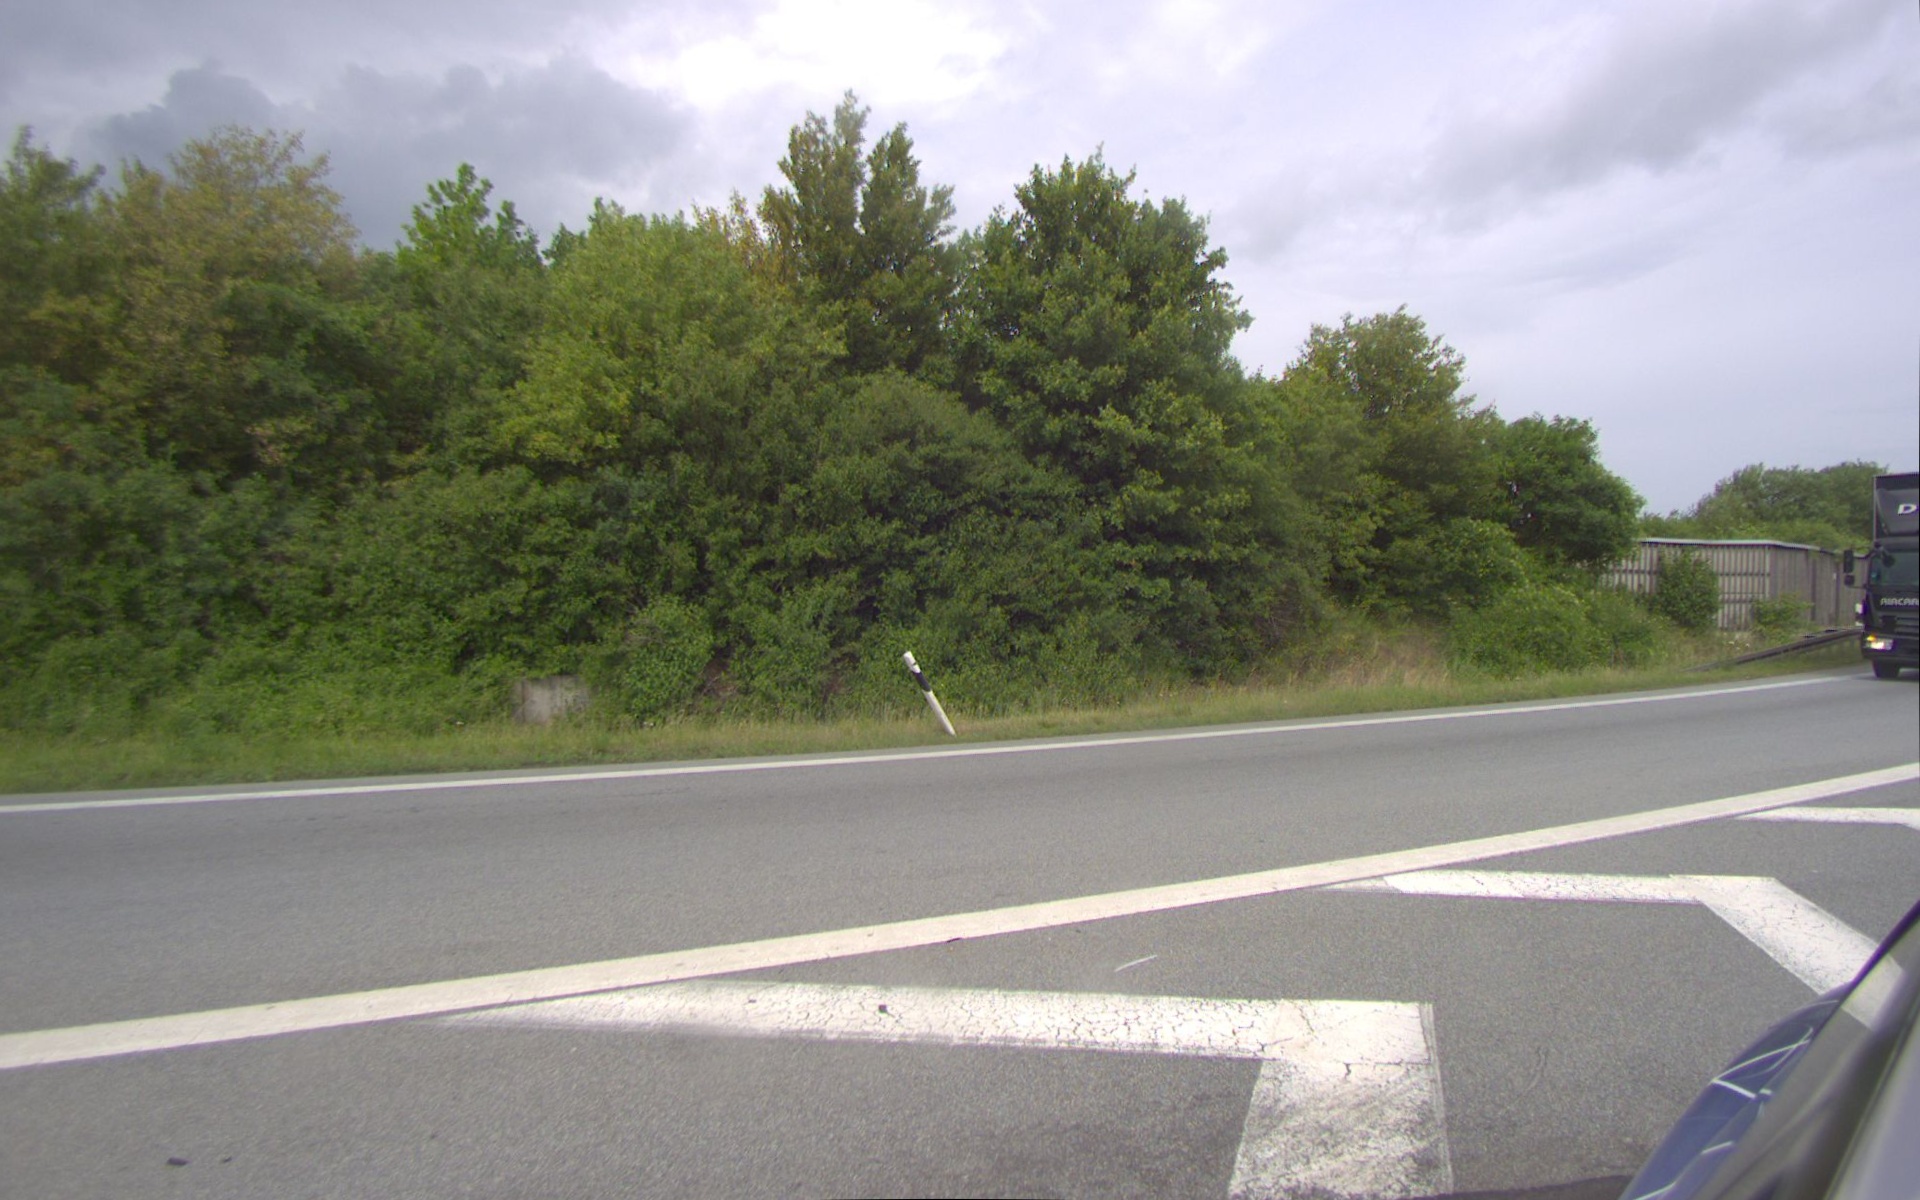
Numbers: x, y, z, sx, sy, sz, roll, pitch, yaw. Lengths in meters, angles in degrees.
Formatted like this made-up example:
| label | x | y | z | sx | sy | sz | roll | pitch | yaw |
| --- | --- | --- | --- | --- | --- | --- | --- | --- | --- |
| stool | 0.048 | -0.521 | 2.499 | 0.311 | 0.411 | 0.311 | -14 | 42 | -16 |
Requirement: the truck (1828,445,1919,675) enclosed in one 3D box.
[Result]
| label | x | y | z | sx | sy | sz | roll | pitch | yaw |
| --- | --- | --- | --- | --- | --- | --- | --- | --- | --- |
| truck | 21.053 | -0.734 | 20.356 | 10.144 | 4.004 | 3.026 | 0 | 0 | -35 |
